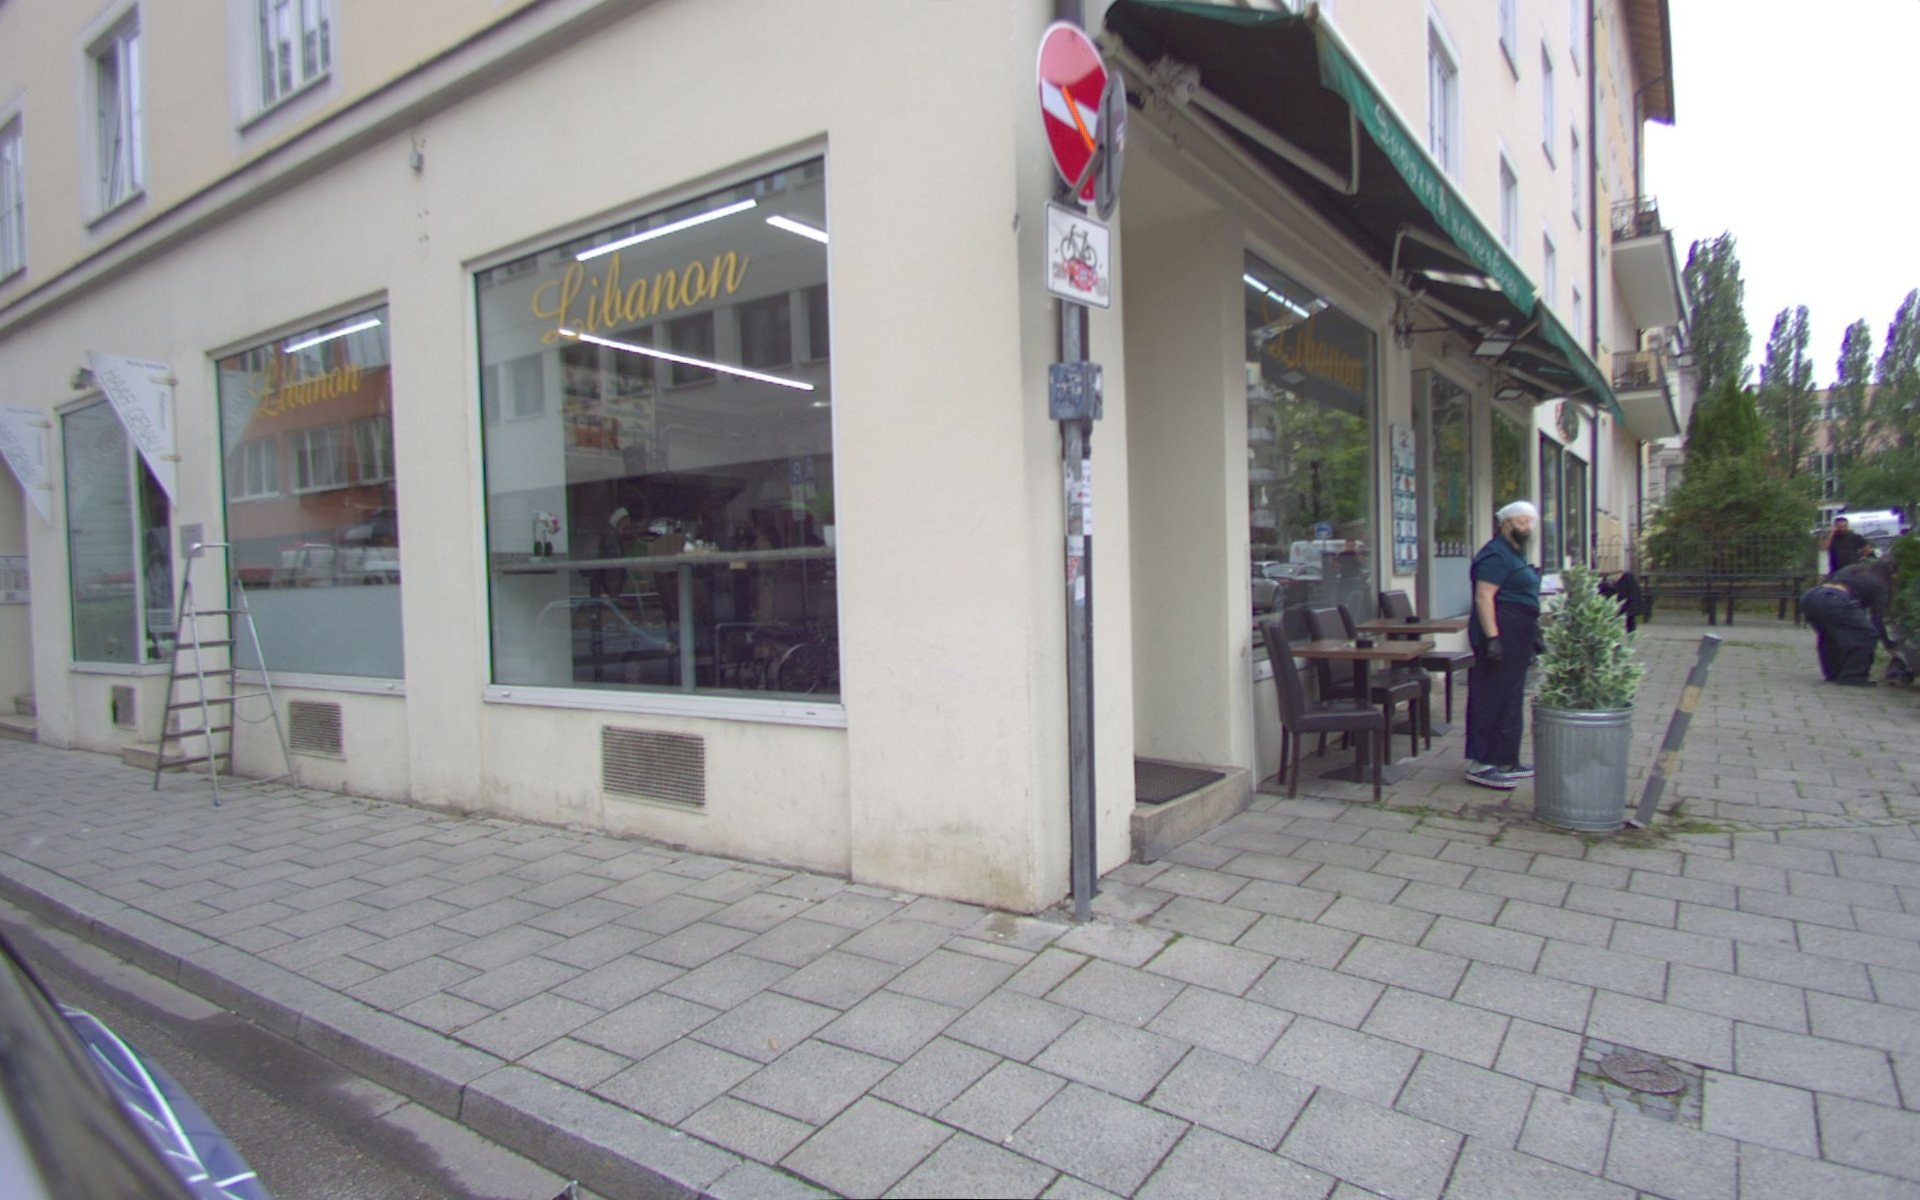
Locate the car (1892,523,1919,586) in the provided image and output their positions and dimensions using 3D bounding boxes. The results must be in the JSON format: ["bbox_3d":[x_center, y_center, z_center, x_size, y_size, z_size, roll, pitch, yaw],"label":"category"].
[{"bbox_3d":[30.556,-1.450,31.590,1.705,1.874,3.951,-1,1,36],"label":"car"}]

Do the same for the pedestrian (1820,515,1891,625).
[{"bbox_3d":[14.018,-0.476,15.861,0.732,1.668,0.782,1,3,37],"label":"pedestrian"}]

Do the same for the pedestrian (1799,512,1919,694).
[{"bbox_3d":[8.206,0.006,9.185,0.851,1.563,0.740,2,4,39],"label":"pedestrian"}]

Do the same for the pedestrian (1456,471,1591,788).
[{"bbox_3d":[3.125,0.151,5.654,0.534,1.654,0.601,-2,1,21],"label":"pedestrian"}]

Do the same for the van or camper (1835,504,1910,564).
[{"bbox_3d":[49.183,-3.491,54.646,2.424,2.957,5.306,-1,1,36],"label":"van or camper"}]
